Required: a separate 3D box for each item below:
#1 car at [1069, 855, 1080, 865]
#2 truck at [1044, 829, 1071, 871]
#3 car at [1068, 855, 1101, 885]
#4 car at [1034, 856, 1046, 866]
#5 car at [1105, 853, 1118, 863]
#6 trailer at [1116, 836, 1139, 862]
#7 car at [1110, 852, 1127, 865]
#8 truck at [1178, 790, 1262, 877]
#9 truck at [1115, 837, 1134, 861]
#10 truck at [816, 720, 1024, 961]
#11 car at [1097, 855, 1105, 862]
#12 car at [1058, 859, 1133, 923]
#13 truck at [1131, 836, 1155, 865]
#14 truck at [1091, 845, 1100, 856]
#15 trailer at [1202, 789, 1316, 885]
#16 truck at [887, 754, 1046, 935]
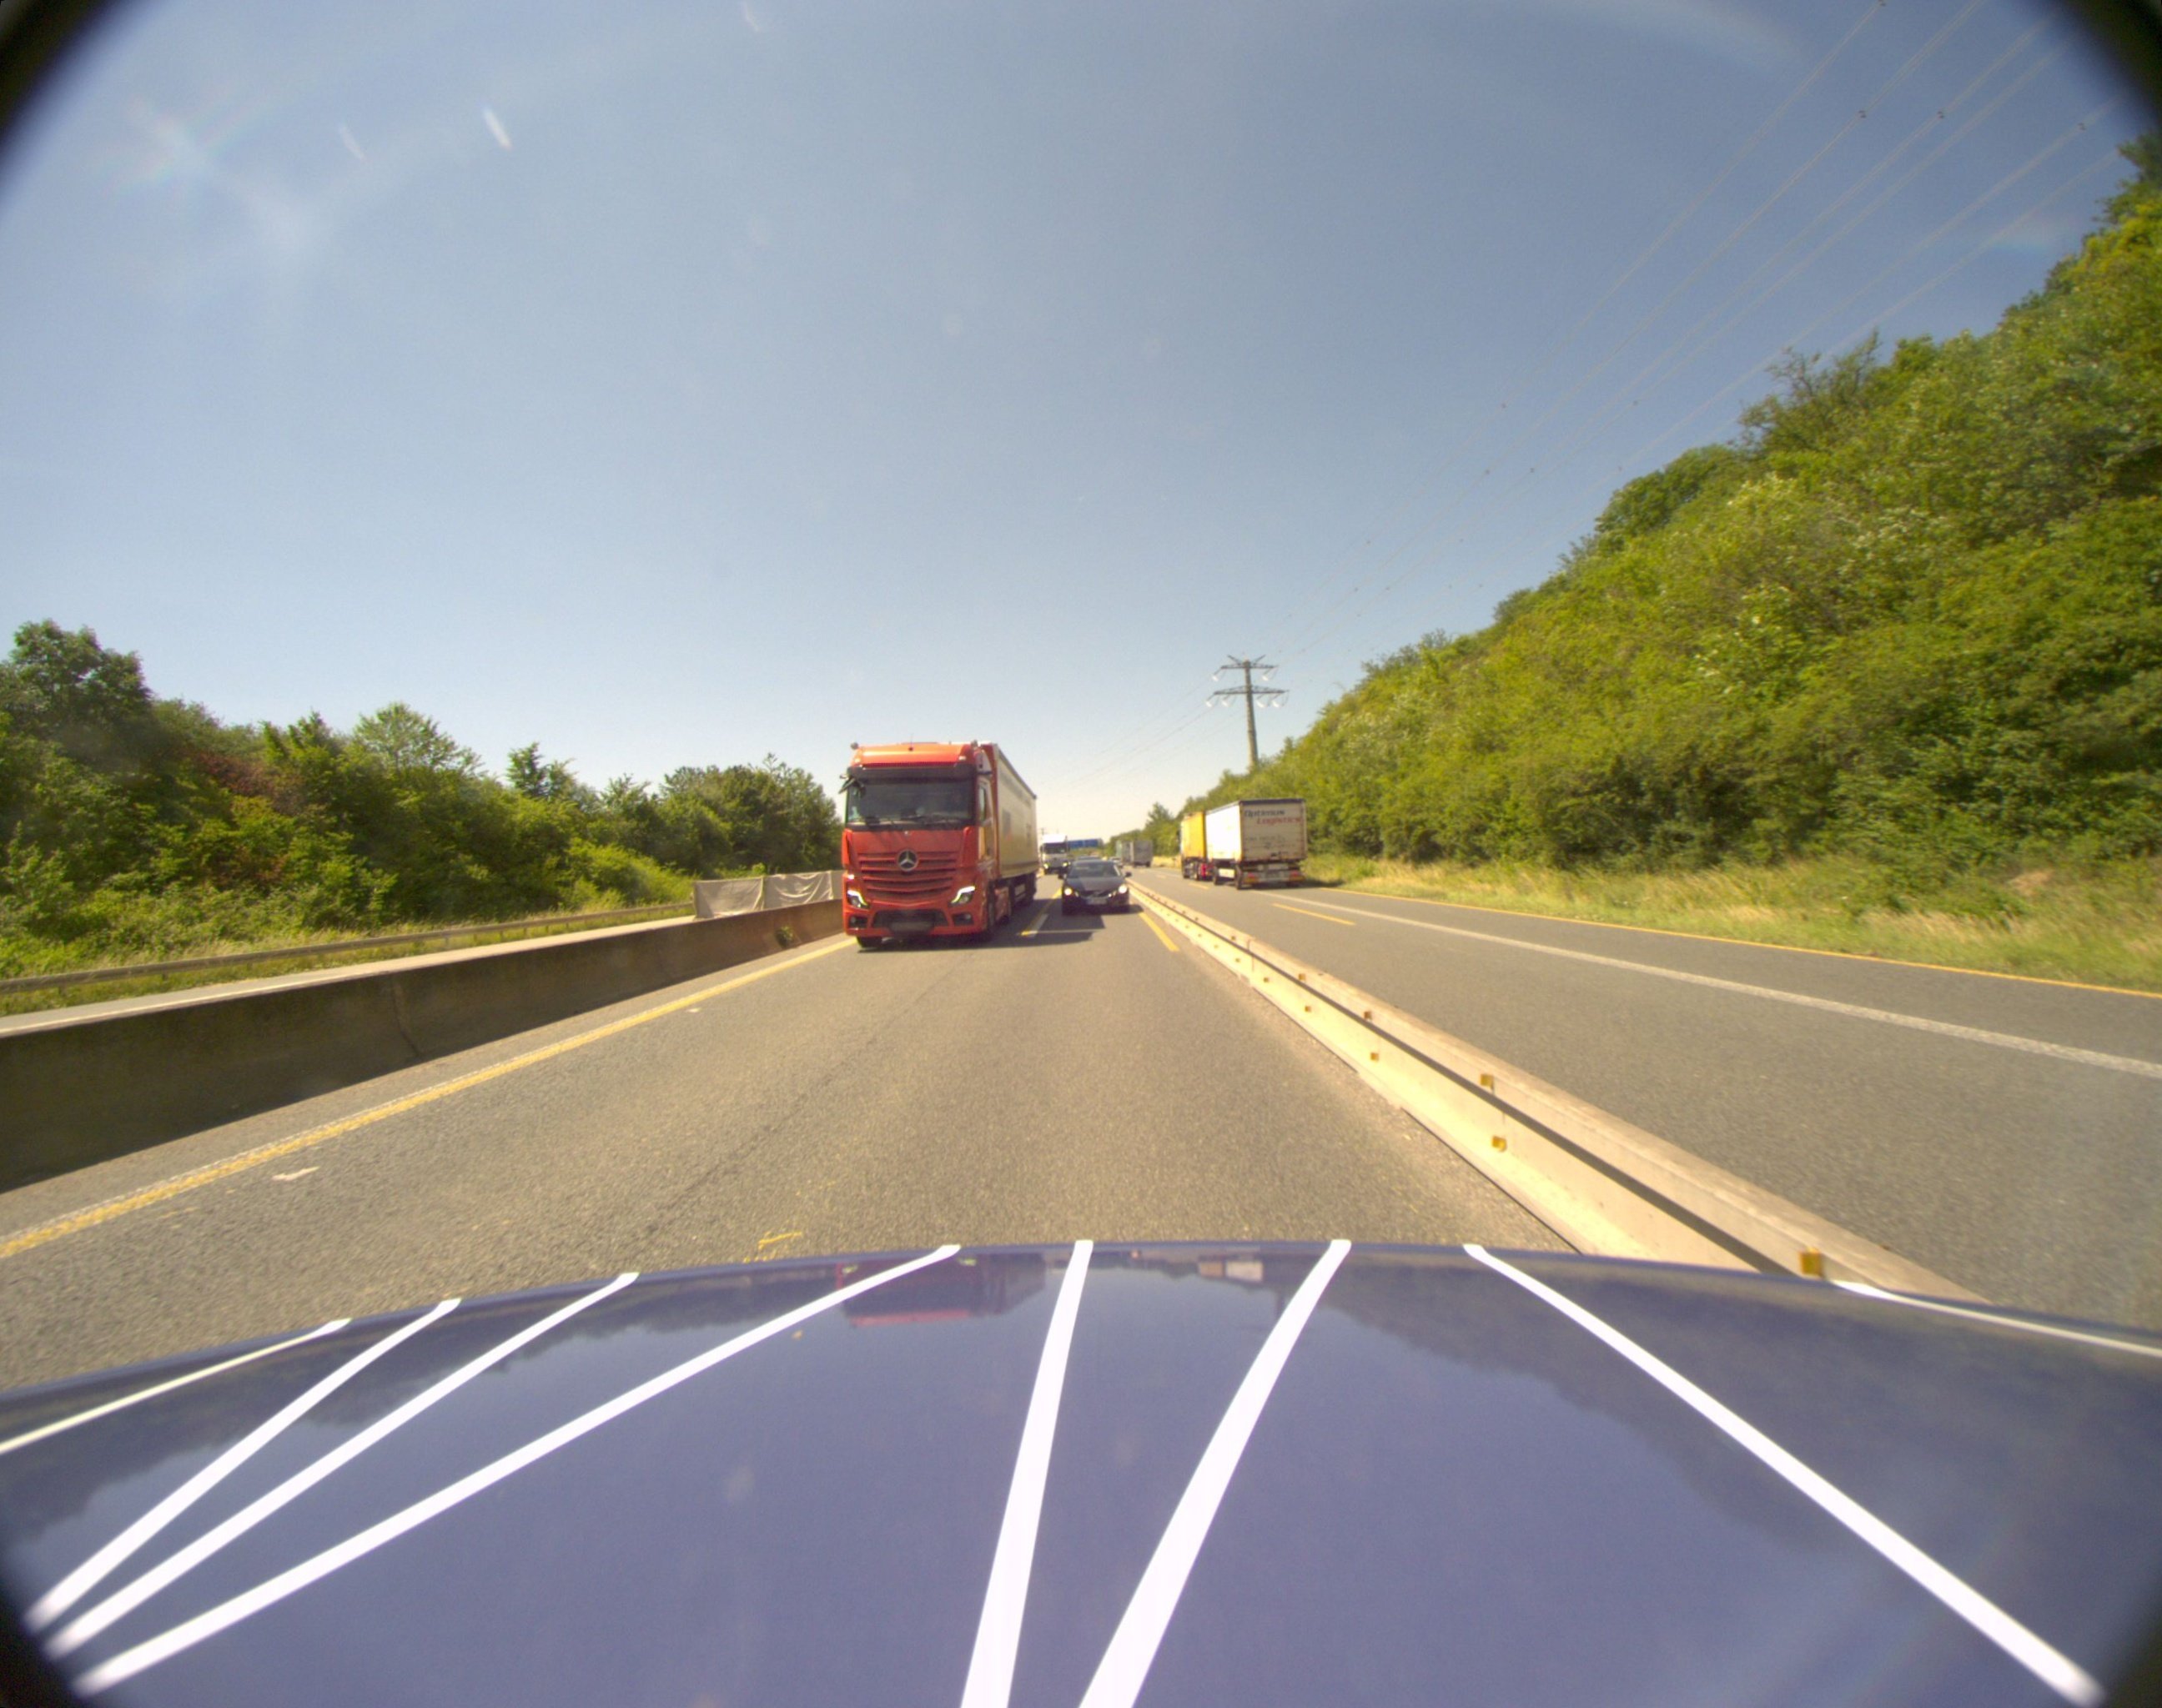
[{"bbox_3d":[-1.126,1.088,134.239,1.767,1.523,4.698,-3,1,-1],"label":"car"},{"bbox_3d":[-2.375,-0.378,81.800,2.481,4.030,13.109,-3,0,-1],"label":"truck"},{"bbox_3d":[0.240,0.864,44.175,1.767,1.523,4.698,-3,1,1],"label":"car"},{"bbox_3d":[-6.708,1.163,123.732,1.767,1.523,4.697,-3,1,-2],"label":"car"},{"bbox_3d":[4.775,0.590,117.884,1.765,1.481,4.401,-3,1,0],"label":"car"},{"bbox_3d":[7.764,-0.827,127.838,2.899,4.101,13.243,-3,0,0],"label":"trailer"},{"bbox_3d":[4.651,0.540,95.502,1.846,1.481,4.510,-1,1,0],"label":"car"},{"bbox_3d":[7.317,-0.996,41.478,2.656,3.969,9.650,-4,0,1],"label":"truck"},{"bbox_3d":[7.763,-0.868,135.450,2.902,4.094,6.020,-3,0,0],"label":"truck"},{"bbox_3d":[-3.002,-0.256,16.310,2.689,3.987,6.725,-3,1,1],"label":"truck"},{"bbox_3d":[4.868,1.070,184.218,1.904,1.496,4.276,-3,0,0],"label":"car"},{"bbox_3d":[0.395,0.936,21.034,1.767,1.411,4.698,-3,1,1],"label":"car"},{"bbox_3d":[7.628,-0.462,94.309,2.411,3.311,7.499,-3,1,1],"label":"truck"},{"bbox_3d":[5.082,-1.261,266.550,2.943,3.754,11.379,-4,0,1],"label":"truck"},{"bbox_3d":[7.197,-0.632,32.194,2.657,3.317,8.918,-4,0,1],"label":"trailer"},{"bbox_3d":[-2.906,-0.270,23.824,2.689,3.987,13.217,-3,1,0],"label":"truck"}]
